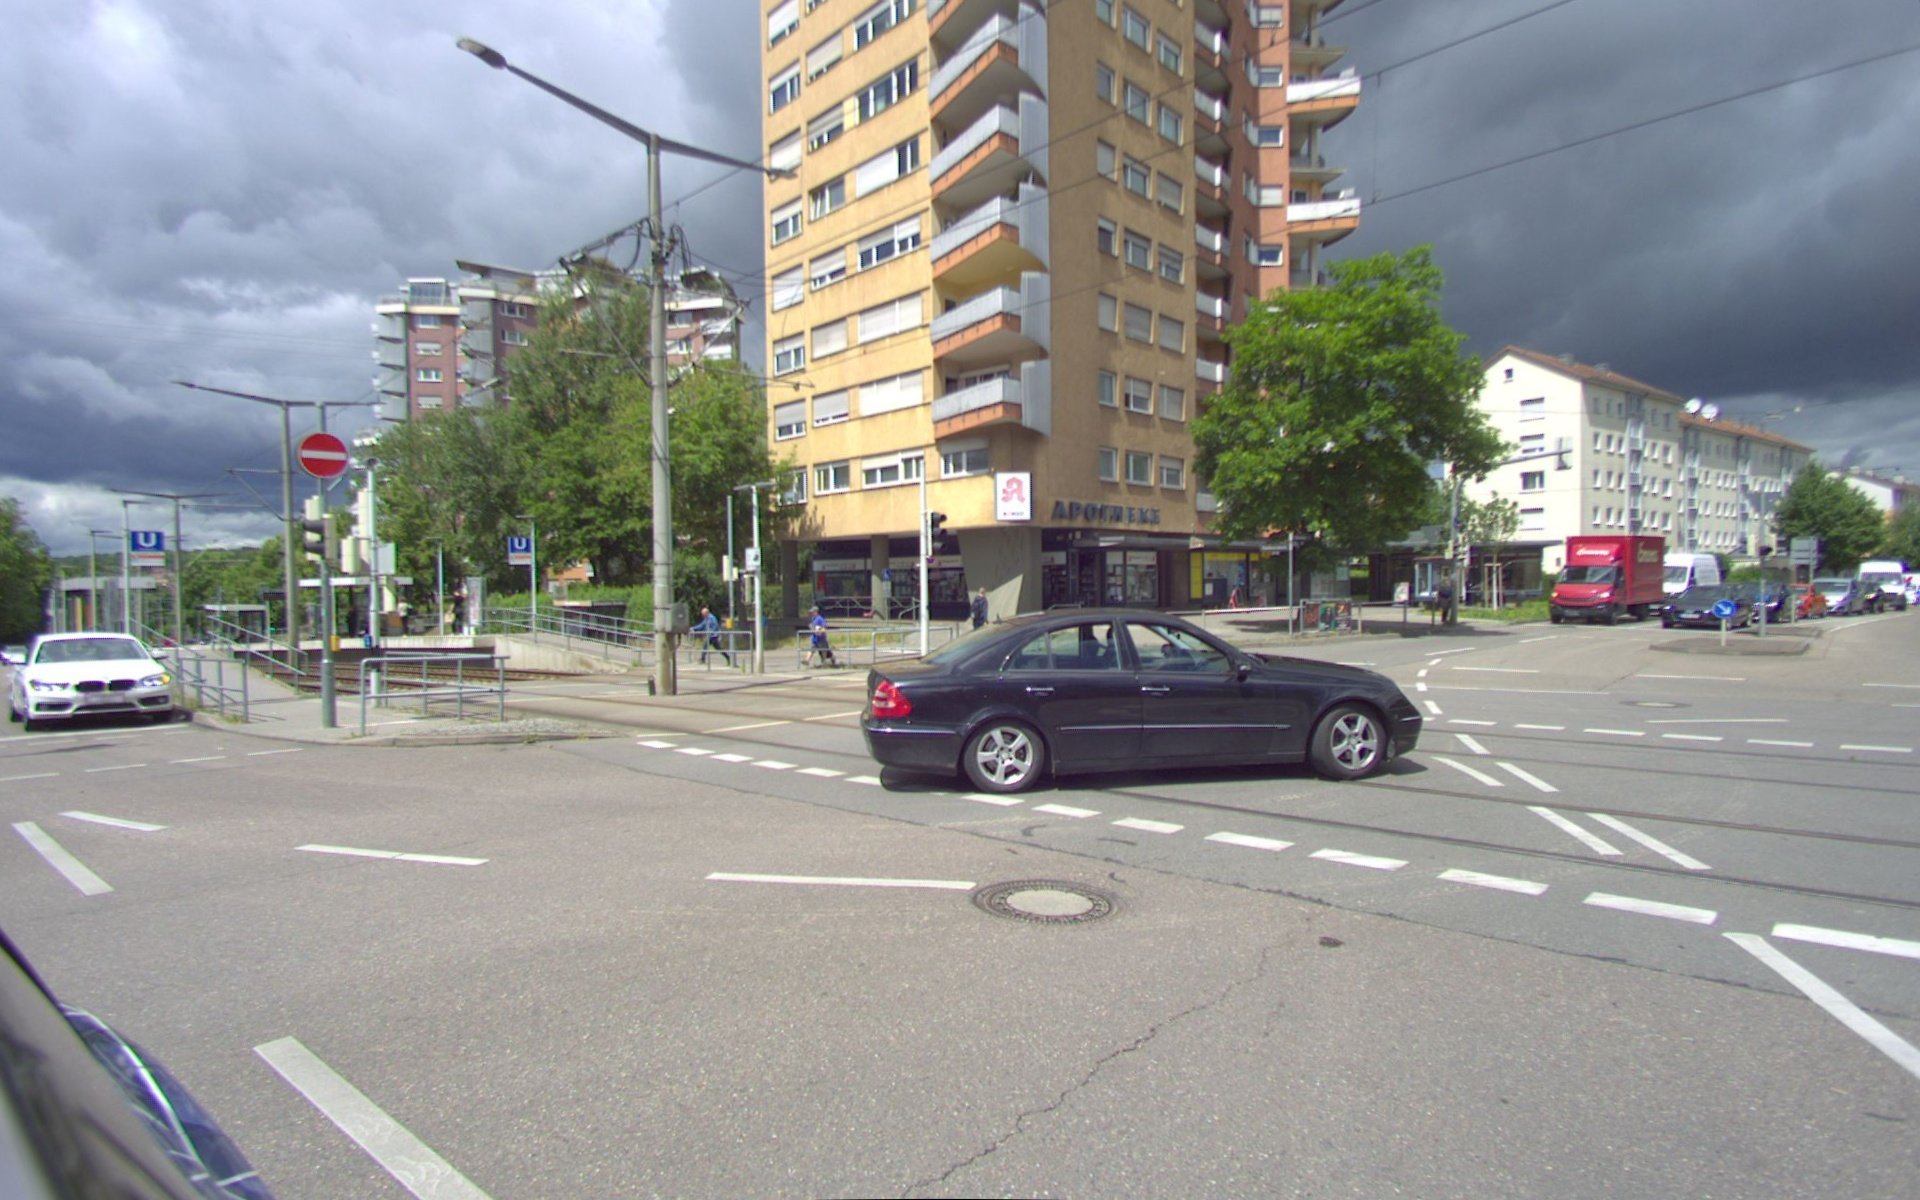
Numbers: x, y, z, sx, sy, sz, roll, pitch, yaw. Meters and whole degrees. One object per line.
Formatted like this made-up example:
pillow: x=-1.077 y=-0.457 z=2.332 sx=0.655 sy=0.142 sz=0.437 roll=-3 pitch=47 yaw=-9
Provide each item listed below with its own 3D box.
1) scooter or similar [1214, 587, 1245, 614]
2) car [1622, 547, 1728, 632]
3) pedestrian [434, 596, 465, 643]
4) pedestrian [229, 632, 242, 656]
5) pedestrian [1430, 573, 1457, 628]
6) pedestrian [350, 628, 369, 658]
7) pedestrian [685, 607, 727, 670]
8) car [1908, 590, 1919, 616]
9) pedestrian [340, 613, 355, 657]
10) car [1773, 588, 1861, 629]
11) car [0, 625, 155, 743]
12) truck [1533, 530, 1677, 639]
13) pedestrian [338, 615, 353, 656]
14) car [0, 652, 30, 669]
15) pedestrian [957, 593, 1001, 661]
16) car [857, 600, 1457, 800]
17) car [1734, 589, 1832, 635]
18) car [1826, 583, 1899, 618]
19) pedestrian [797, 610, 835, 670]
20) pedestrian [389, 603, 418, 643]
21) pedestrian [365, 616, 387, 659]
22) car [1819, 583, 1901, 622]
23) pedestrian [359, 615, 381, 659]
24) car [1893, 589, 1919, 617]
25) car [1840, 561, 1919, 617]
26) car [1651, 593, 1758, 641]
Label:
scooter or similar: x=11.211 y=0.017 z=42.109 sx=0.545 sy=1.102 sz=1.730 roll=-2 pitch=-1 yaw=39
car: x=30.254 y=-0.412 z=42.738 sx=6.204 sy=3.324 sz=2.004 roll=0 pitch=-1 yaw=-39
pedestrian: x=-19.658 y=0.735 z=38.999 sx=0.747 sy=1.787 sz=0.853 roll=-2 pitch=-2 yaw=43
pedestrian: x=-53.254 y=3.256 z=74.421 sx=0.763 sy=1.719 sz=0.767 roll=0 pitch=-1 yaw=-38
pedestrian: x=16.439 y=0.024 z=34.397 sx=0.637 sy=1.825 sz=0.884 roll=-2 pitch=-1 yaw=16
pedestrian: x=-28.669 y=2.053 z=48.324 sx=0.658 sy=1.426 sz=0.637 roll=-2 pitch=-2 yaw=44
pedestrian: x=-6.887 y=1.017 z=27.388 sx=0.709 sy=1.609 sz=0.913 roll=-6 pitch=3 yaw=-33
car: x=60.514 y=0.147 z=62.727 sx=3.936 sy=1.614 sz=2.004 roll=0 pitch=-1 yaw=-38
pedestrian: x=-30.519 y=1.743 z=50.404 sx=0.524 sy=2.158 sz=0.609 roll=0 pitch=-2 yaw=-43
car: x=35.319 y=0.341 z=41.707 sx=3.936 sy=1.614 sz=2.004 roll=0 pitch=-1 yaw=-38
car: x=-14.117 y=1.199 z=15.925 sx=4.278 sy=1.462 sz=1.769 roll=0 pitch=1 yaw=45
truck: x=24.013 y=-0.516 z=37.518 sx=6.990 sy=3.702 sz=2.550 roll=0 pitch=-1 yaw=-41
pedestrian: x=-30.786 y=1.797 z=50.721 sx=0.558 sy=2.029 sz=0.510 roll=-2 pitch=-2 yaw=44
car: x=-74.666 y=4.782 z=79.913 sx=1.779 sy=1.224 sz=4.026 roll=0 pitch=-1 yaw=-42
pedestrian: x=0.554 y=0.780 z=29.648 sx=0.853 sy=1.949 sz=0.908 roll=-2 pitch=-2 yaw=43
car: x=1.470 y=0.772 z=8.725 sx=4.605 sy=1.409 sz=1.979 roll=-1 pitch=-1 yaw=-3
car: x=30.610 y=0.428 z=37.606 sx=3.936 sy=1.614 sz=2.004 roll=0 pitch=-1 yaw=-38
car: x=44.235 y=0.010 z=49.574 sx=3.936 sy=1.614 sz=2.004 roll=0 pitch=-1 yaw=-38
pedestrian: x=-3.777 y=1.046 z=26.522 sx=0.649 sy=1.525 sz=0.711 roll=-2 pitch=-1 yaw=44
pedestrian: x=-23.101 y=0.944 z=41.983 sx=0.747 sy=1.618 sz=0.853 roll=-2 pitch=-2 yaw=43
pedestrian: x=-27.118 y=1.723 z=46.983 sx=0.573 sy=1.946 sz=0.761 roll=-2 pitch=-2 yaw=42
car: x=39.485 y=0.096 z=44.375 sx=3.936 sy=1.614 sz=2.004 roll=0 pitch=-1 yaw=-38
pedestrian: x=-27.683 y=1.711 z=47.496 sx=0.584 sy=2.029 sz=0.770 roll=-2 pitch=-2 yaw=44
car: x=56.831 y=0.176 z=59.703 sx=3.936 sy=1.614 sz=2.004 roll=0 pitch=-1 yaw=-38
car: x=48.971 y=-0.553 z=53.737 sx=4.818 sy=2.809 sz=2.441 roll=0 pitch=-1 yaw=-38
car: x=24.793 y=0.559 z=33.671 sx=3.937 sy=1.506 sz=2.003 roll=0 pitch=-1 yaw=-41
